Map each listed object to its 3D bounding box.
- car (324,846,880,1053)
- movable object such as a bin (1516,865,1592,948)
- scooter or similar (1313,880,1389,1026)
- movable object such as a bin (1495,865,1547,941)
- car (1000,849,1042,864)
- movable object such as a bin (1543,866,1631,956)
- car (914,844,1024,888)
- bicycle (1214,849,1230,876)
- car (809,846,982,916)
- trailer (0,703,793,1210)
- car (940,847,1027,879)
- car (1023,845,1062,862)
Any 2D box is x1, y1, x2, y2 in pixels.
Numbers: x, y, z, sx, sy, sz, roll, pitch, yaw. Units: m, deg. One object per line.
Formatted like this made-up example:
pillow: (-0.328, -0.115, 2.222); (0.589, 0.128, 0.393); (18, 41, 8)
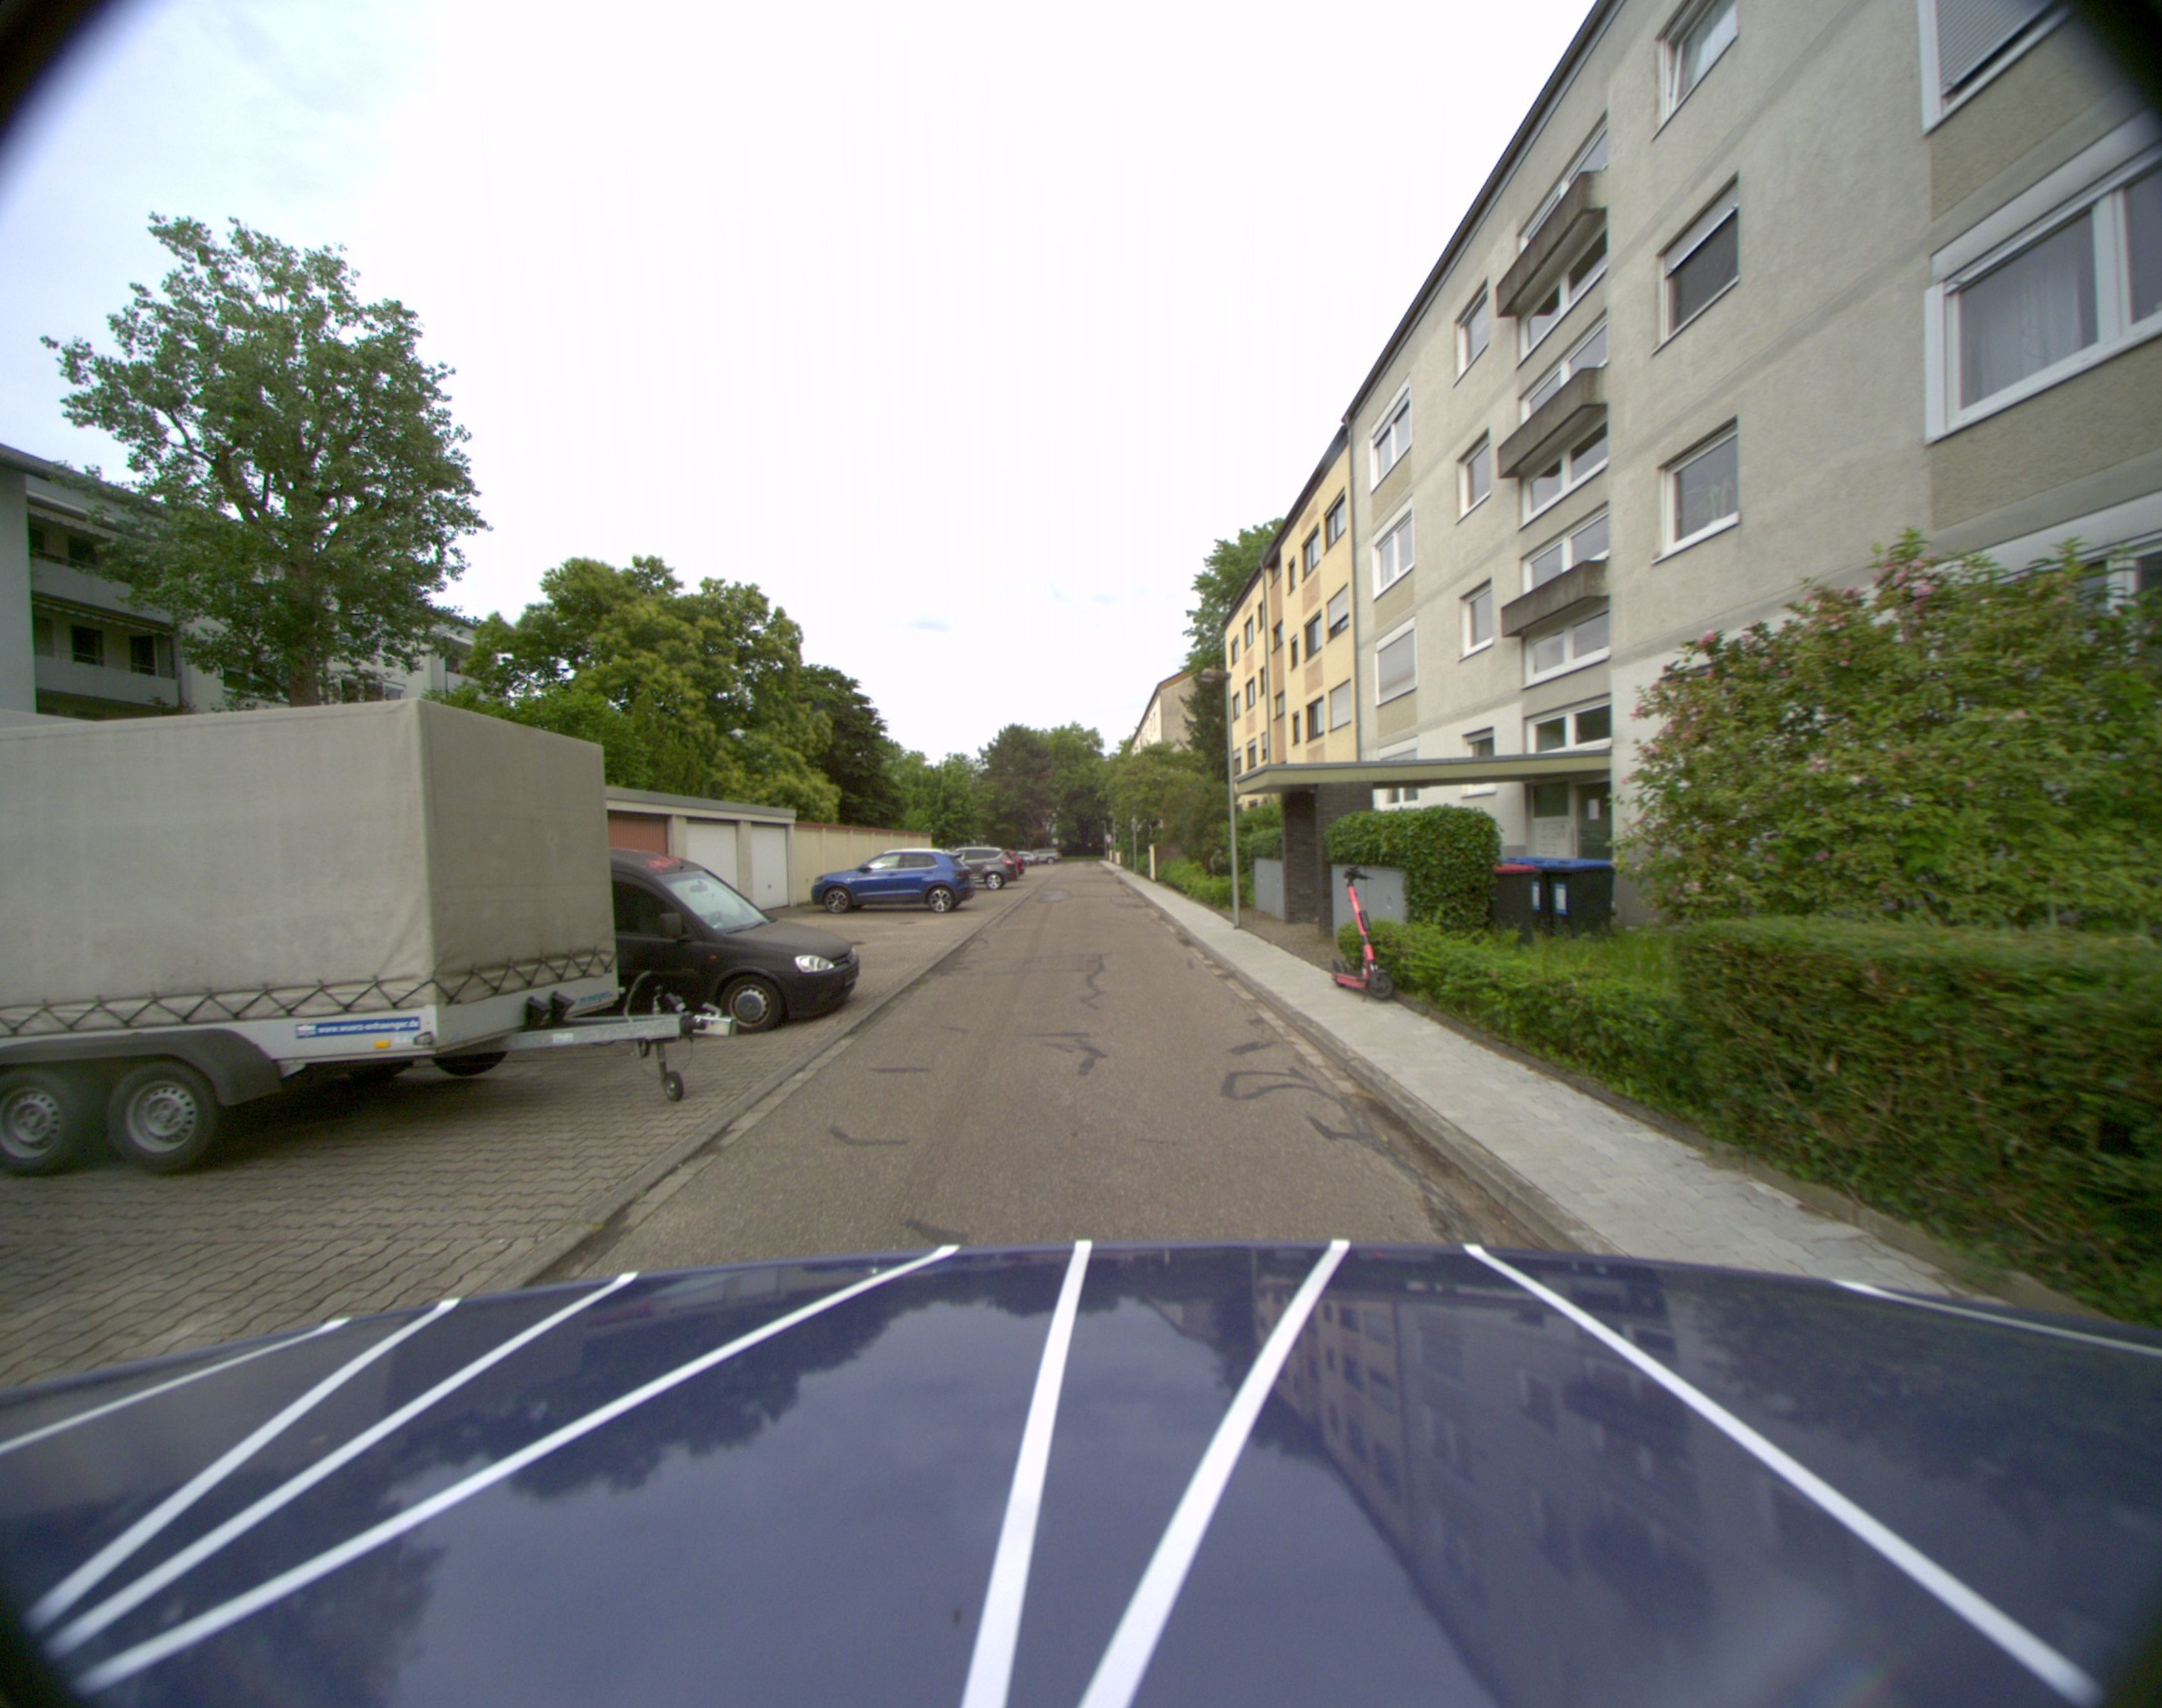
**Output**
car: (-4.459, 0.835, 7.672); (4.321, 1.791, 2.000); (1, 1, 0)
movable object such as a bin: (6.180, 0.670, 9.955); (0.625, 1.028, 0.589); (-1, 1, 0)
scooter or similar: (2.505, 0.872, 7.133); (0.273, 1.204, 1.164); (-2, 1, -1)
movable object such as a bin: (6.157, 0.673, 10.652); (0.536, 1.013, 0.581); (-1, 1, 22)
car: (-6.090, 0.253, 77.347); (4.104, 1.476, 1.787); (-1, 1, -1)
movable object such as a bin: (6.180, 0.680, 9.307); (0.625, 1.028, 0.665); (-1, 1, 0)
car: (-4.540, 0.475, 31.249); (4.206, 1.717, 2.000); (1, 1, 0)
bicycle: (5.814, 0.356, 31.414); (0.315, 1.045, 1.691); (-1, -1, -1)
car: (-4.698, 0.662, 19.696); (3.997, 1.693, 2.000); (1, 1, 0)
trailer: (-4.598, 0.555, 4.907); (4.621, 2.510, 1.942); (-2, 1, 1)
car: (-5.010, 0.463, 39.654); (4.299, 1.577, 1.935); (1, 1, -1)
car: (-4.144, -0.067, 82.385); (4.104, 1.637, 1.787); (-1, 1, -1)
